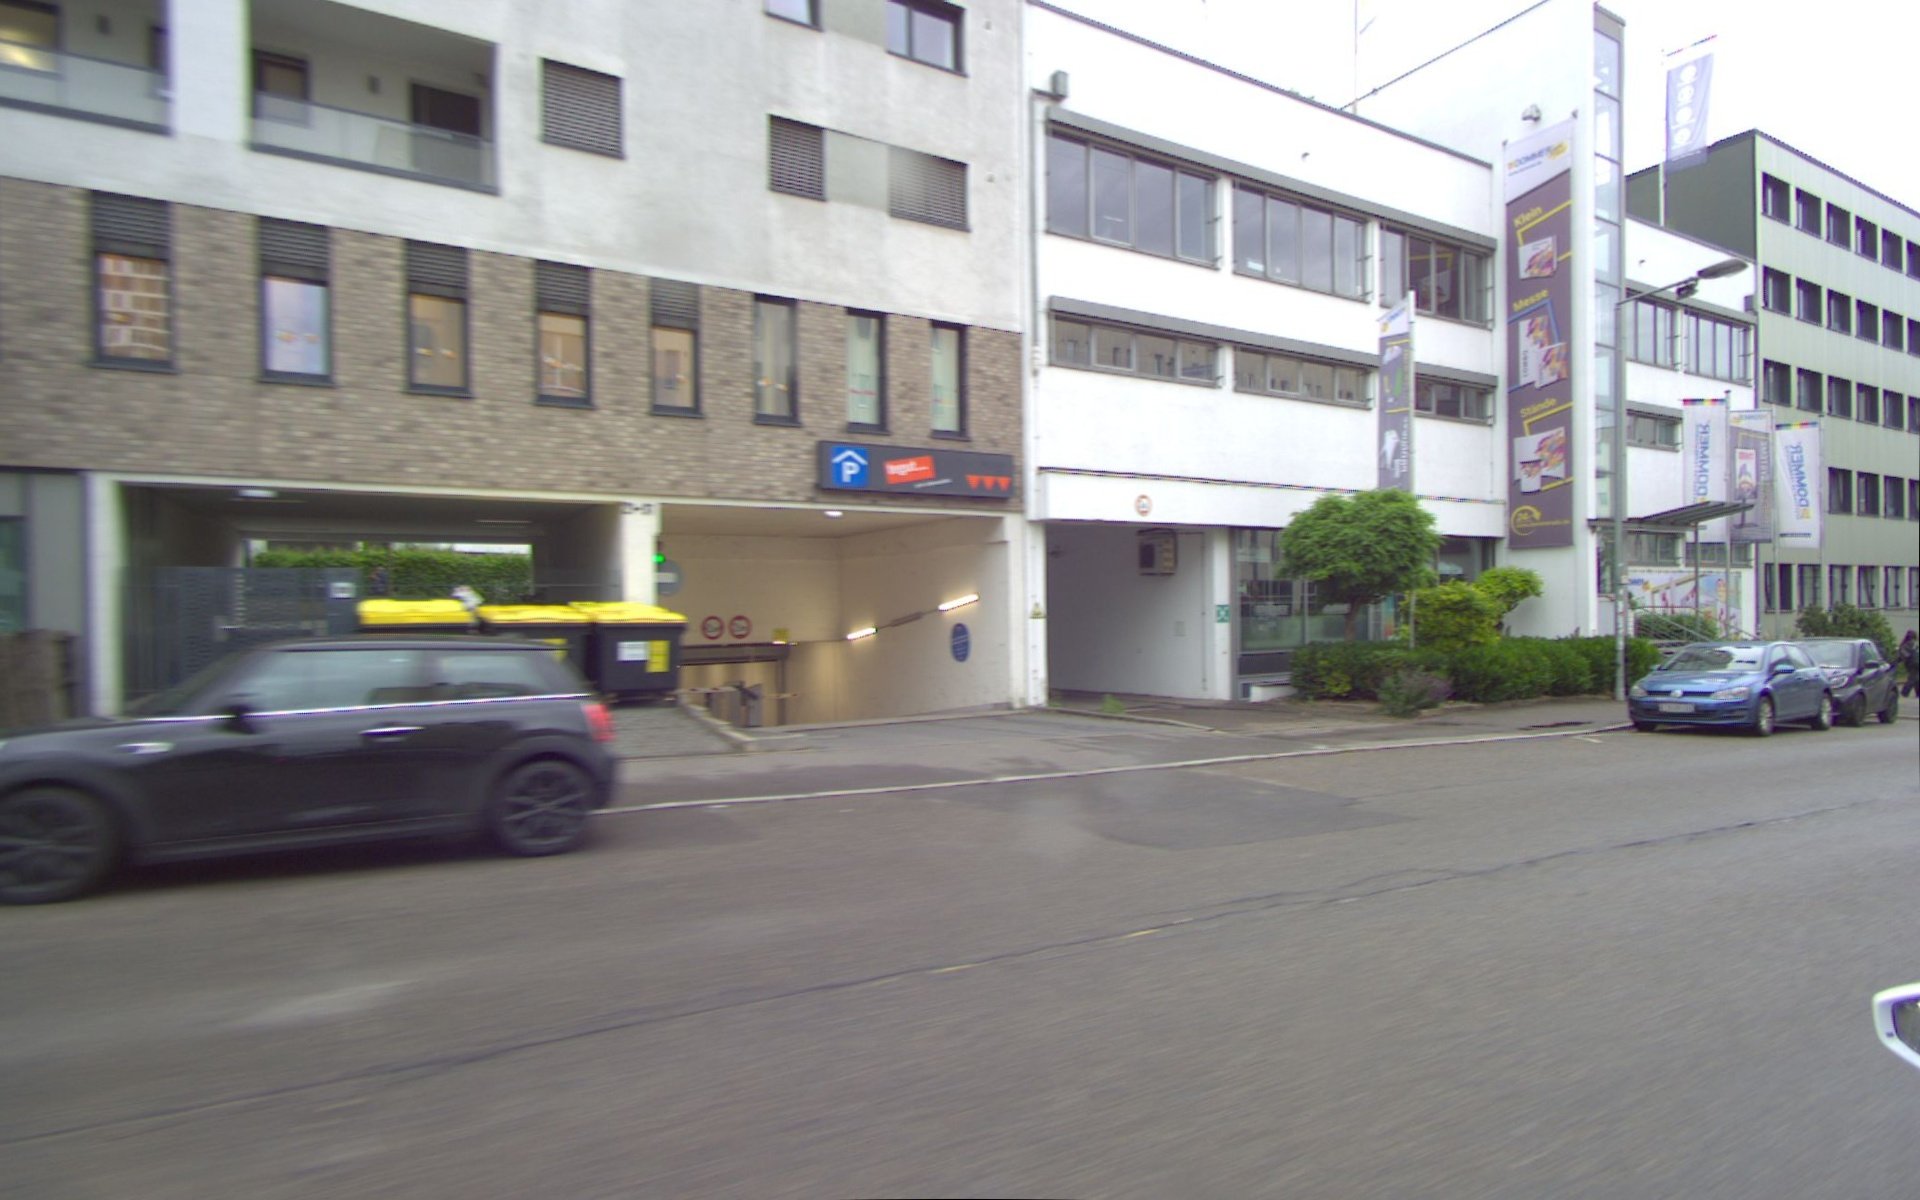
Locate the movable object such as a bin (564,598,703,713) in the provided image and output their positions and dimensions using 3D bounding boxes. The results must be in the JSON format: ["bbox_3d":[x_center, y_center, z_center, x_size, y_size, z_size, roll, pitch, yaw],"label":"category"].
[{"bbox_3d":[-4.721,0.784,14.471,1.466,1.530,1.784,2,-3,-34],"label":"movable object such as a bin"}]

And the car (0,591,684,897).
[{"bbox_3d":[-4.138,0.780,6.523,4.195,1.536,1.789,2,-1,-30],"label":"car"}]

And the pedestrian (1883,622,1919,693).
[{"bbox_3d":[23.431,1.418,24.840,0.718,1.731,0.901,1,-2,32],"label":"pedestrian"}]

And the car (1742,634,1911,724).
[{"bbox_3d":[16.138,1.419,18.691,3.136,1.534,1.555,2,-2,-33],"label":"car"}]

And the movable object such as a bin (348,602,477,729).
[{"bbox_3d":[-7.161,0.793,13.086,1.277,1.449,2.014,2,1,-34],"label":"movable object such as a bin"}]

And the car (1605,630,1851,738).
[{"bbox_3d":[12.597,1.304,16.406,4.311,1.500,1.902,2,-1,-34],"label":"car"}]

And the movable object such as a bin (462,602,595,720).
[{"bbox_3d":[-5.950,0.781,13.784,1.303,1.442,2.041,2,0,-34],"label":"movable object such as a bin"}]
